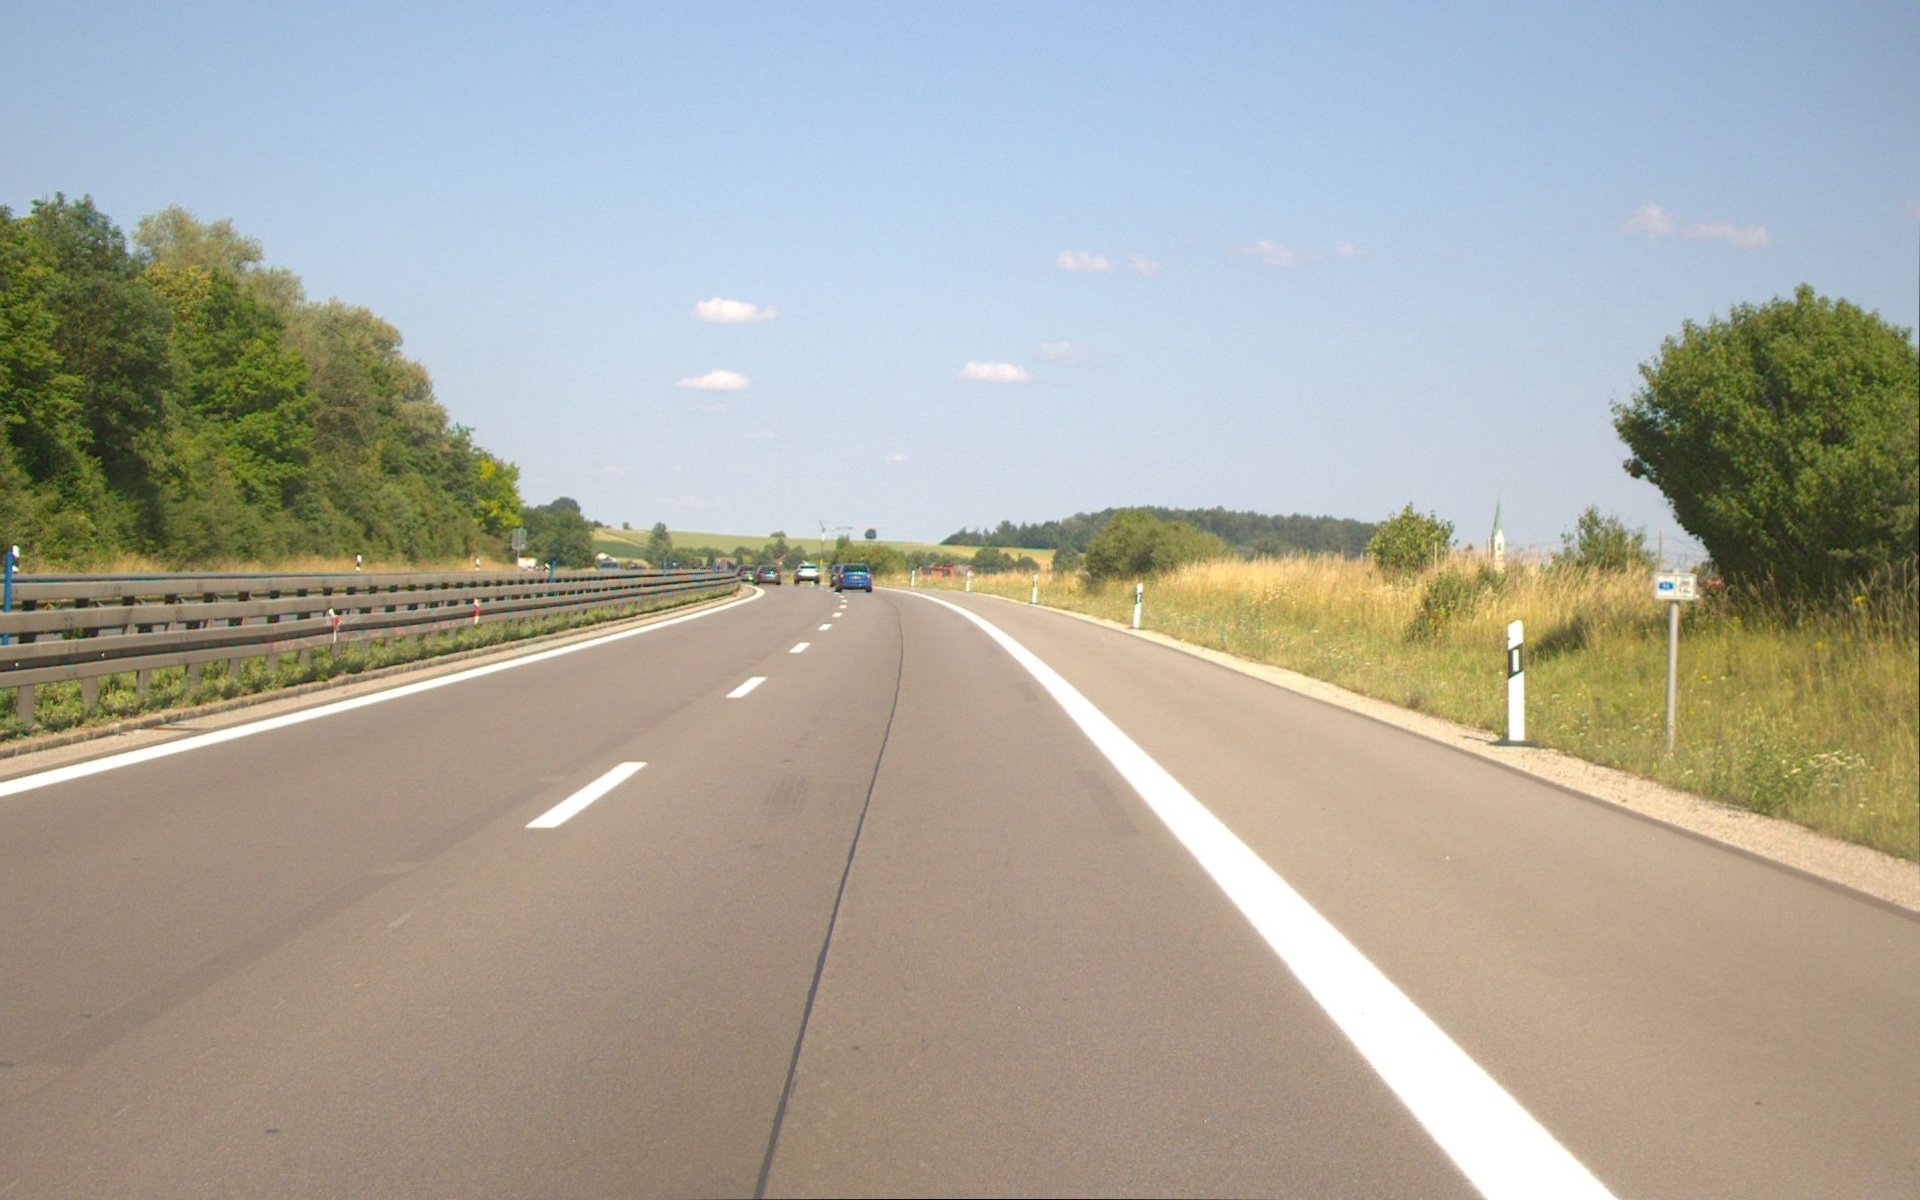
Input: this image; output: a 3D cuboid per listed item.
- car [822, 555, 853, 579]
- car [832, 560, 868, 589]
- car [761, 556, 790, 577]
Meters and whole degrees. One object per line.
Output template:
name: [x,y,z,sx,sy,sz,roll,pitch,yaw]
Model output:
car: [-7.796,-2.082,218.888,1.829,1.448,3.592,1,0,0]
car: [-5.519,-1.273,172.622,1.676,1.448,3.592,1,0,0]
car: [-13.240,-2.406,247.300,1.829,1.448,3.592,1,0,0]
